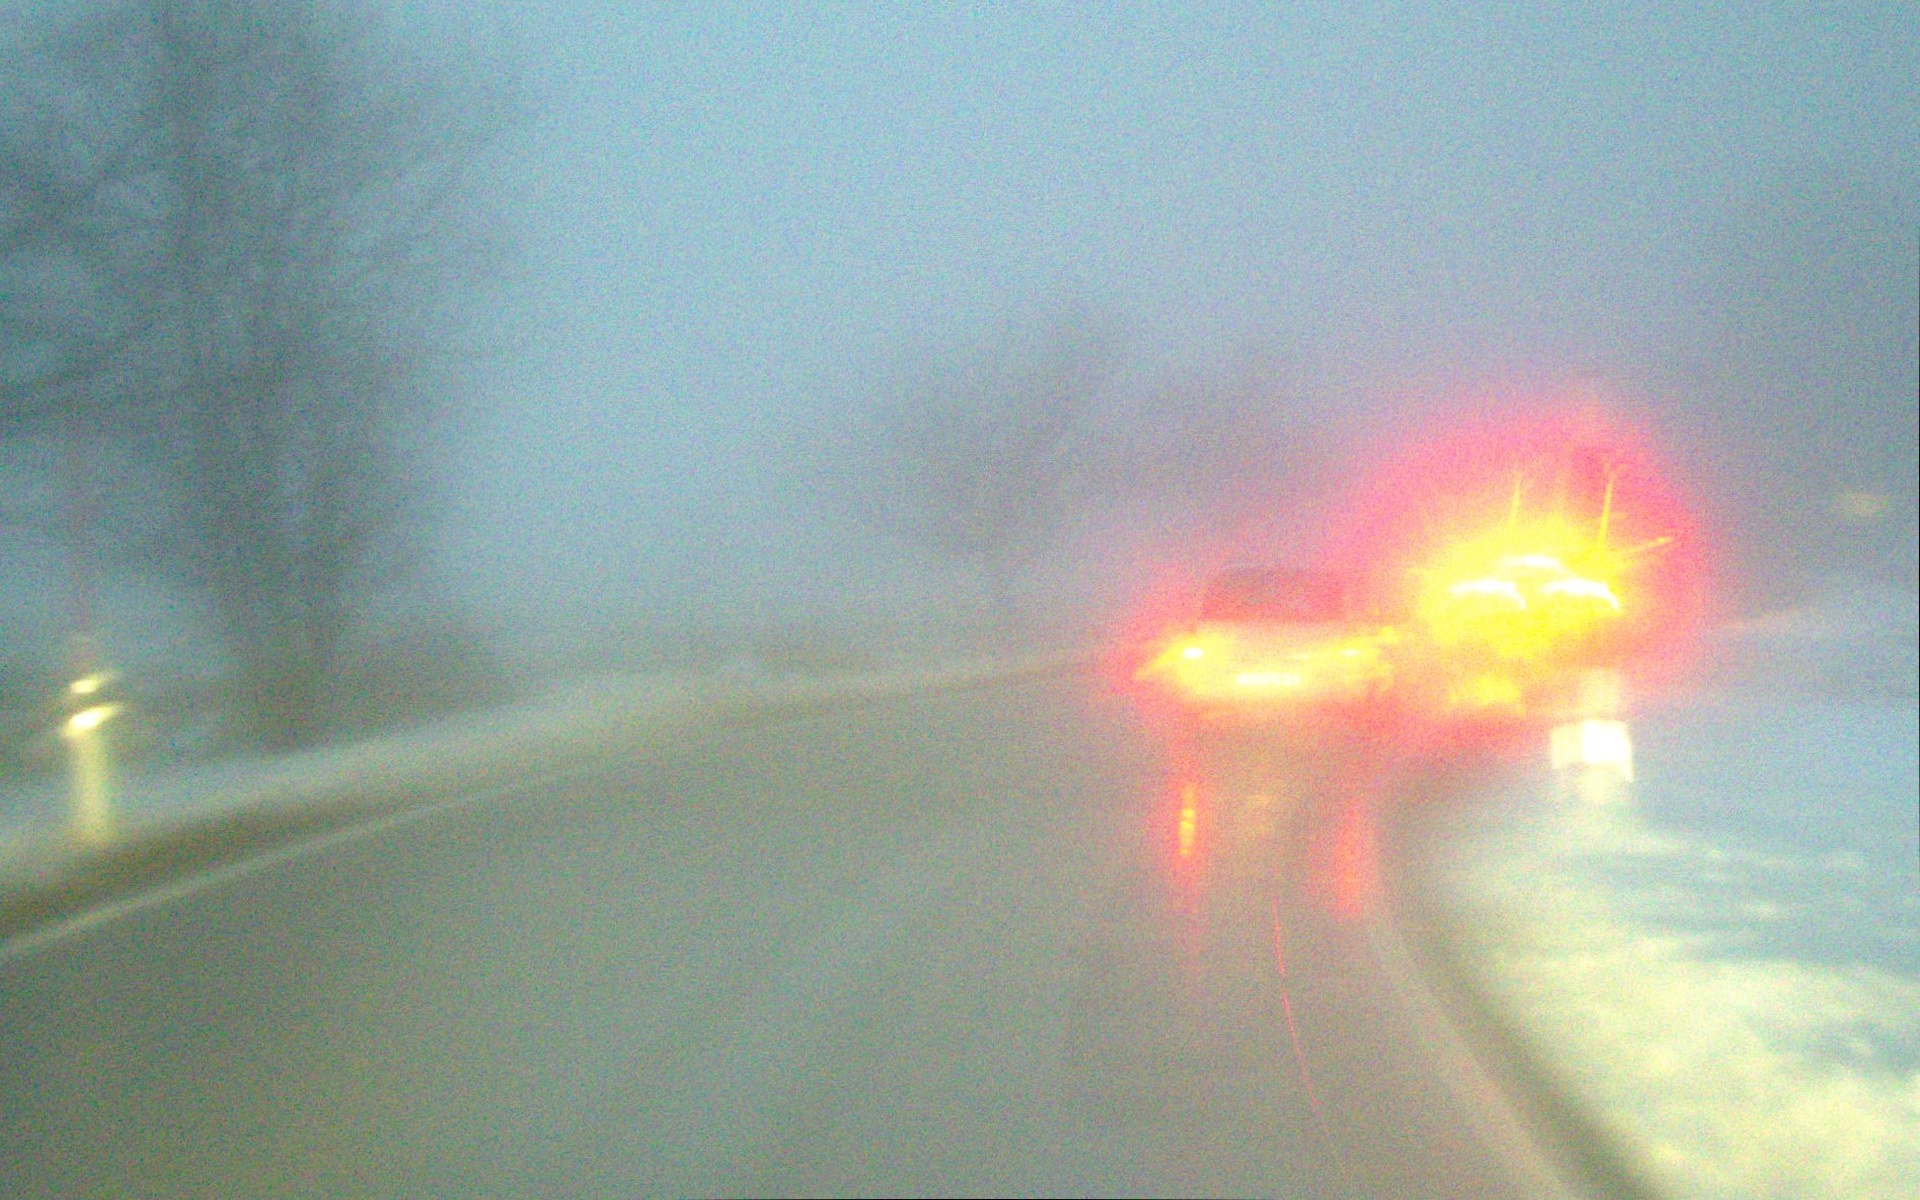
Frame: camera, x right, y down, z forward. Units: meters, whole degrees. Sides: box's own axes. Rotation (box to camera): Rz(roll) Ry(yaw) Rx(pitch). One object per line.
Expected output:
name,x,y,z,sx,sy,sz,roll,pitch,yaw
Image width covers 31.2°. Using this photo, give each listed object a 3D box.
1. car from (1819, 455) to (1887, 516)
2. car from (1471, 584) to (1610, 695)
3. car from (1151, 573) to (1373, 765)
car,23.710,-3.014,91.224,1.524,1.503,3.050,-1,0,19
car,8.356,0.547,49.347,1.480,1.503,3.050,-1,1,19
car,2.619,0.530,29.168,1.707,1.458,3.999,2,1,7
